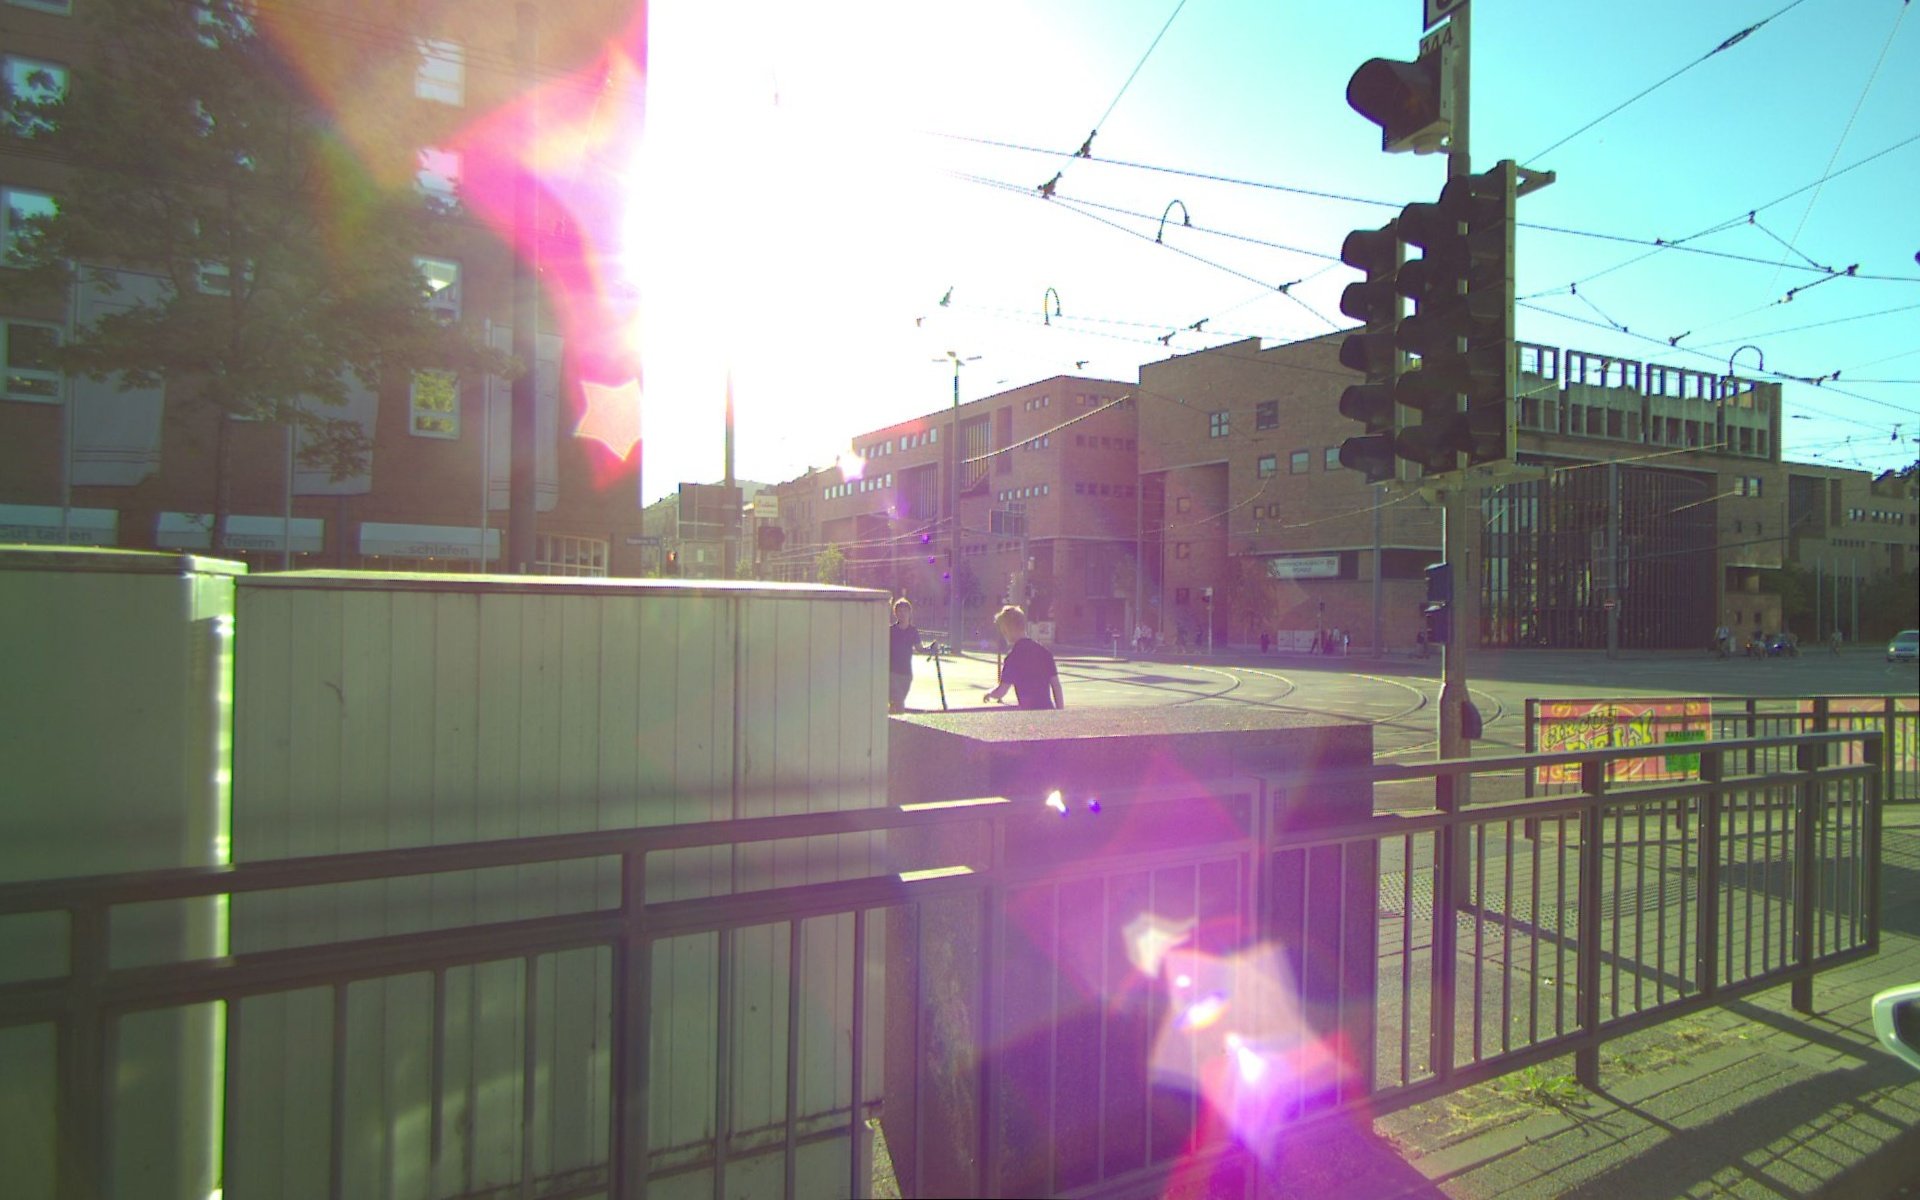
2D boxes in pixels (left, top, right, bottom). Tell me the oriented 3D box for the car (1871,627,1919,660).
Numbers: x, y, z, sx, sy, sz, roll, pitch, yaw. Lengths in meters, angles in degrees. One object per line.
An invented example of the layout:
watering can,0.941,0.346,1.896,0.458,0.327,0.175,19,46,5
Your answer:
car,48.980,2.215,51.779,3.954,1.661,1.983,1,-2,-31

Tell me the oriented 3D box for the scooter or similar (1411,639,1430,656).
scooter or similar,25.376,2.632,55.373,0.931,0.911,0.176,0,-1,14

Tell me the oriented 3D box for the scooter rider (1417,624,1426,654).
scooter rider,25.431,2.155,55.394,0.429,1.669,0.229,0,-1,15

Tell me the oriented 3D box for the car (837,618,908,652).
car,-4.596,1.812,52.454,1.980,1.572,3.961,2,0,-35

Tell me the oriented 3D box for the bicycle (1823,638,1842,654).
bicycle,55.032,2.892,63.341,1.469,0.976,0.489,1,-1,-30

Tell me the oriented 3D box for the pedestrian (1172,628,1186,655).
pedestrian,12.281,2.316,56.337,0.602,1.473,0.570,0,-1,-1

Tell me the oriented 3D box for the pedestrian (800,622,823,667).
pedestrian,-5.591,1.669,37.772,0.658,1.669,0.638,1,-1,-34

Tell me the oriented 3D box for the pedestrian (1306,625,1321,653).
pedestrian,21.750,2.408,61.866,0.645,1.706,0.615,1,-1,-38

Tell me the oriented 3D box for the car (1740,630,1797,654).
car,52.750,2.727,65.542,3.954,1.455,1.658,1,-2,-31

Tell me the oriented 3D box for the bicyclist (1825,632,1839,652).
bicyclist,54.899,2.654,63.257,0.574,1.226,0.503,1,-1,-30

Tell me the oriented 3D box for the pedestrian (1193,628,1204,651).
pedestrian,14.979,2.451,62.998,0.549,1.445,0.556,0,-1,0

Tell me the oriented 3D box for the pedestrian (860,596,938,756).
pedestrian,-0.749,0.895,12.191,0.647,1.864,0.835,1,-1,-28

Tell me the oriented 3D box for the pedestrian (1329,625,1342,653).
pedestrian,23.357,2.426,62.467,0.497,1.706,0.589,1,-1,-34

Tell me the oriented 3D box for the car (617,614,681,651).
car,-18.804,1.931,60.624,1.982,2.122,5.156,1,-2,-38

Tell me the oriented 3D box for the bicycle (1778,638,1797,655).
bicycle,48.749,2.741,59.193,1.332,0.976,0.449,1,-1,-30

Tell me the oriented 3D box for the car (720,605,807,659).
car,-9.450,1.514,47.942,1.982,2.419,5.156,1,-2,-38

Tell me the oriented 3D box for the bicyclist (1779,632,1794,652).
bicyclist,48.606,2.463,59.093,0.574,1.194,0.503,1,-1,-30

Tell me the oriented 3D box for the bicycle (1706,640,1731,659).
bicycle,41.269,2.693,54.635,1.568,0.976,0.539,1,-1,-30

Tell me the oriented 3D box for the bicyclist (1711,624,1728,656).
bicyclist,41.355,2.185,54.712,0.574,1.754,0.534,1,-1,-30

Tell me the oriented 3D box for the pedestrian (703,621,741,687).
pedestrian,-6.165,1.392,26.041,0.709,1.669,0.953,1,-1,-30

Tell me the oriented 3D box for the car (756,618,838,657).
car,-8.496,1.908,51.897,1.982,1.928,5.156,1,-2,-38

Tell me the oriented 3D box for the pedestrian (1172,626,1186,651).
pedestrian,12.064,2.111,55.389,0.667,1.357,0.605,0,-1,6

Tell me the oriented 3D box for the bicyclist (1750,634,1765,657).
bicyclist,45.931,2.631,57.827,0.574,1.321,0.503,1,-1,-30

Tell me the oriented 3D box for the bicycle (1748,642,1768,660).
bicycle,45.917,2.930,57.826,1.304,0.976,0.465,1,-1,-30

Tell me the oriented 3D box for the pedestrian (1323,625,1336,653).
pedestrian,22.727,2.401,61.739,0.569,1.706,0.543,1,-2,-40

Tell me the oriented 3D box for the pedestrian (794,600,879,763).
pedestrian,-1.474,0.930,11.913,0.713,1.837,0.904,1,-1,-28

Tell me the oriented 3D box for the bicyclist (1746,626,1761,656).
bicyclist,42.847,2.226,54.260,0.574,1.624,0.456,1,-1,-30

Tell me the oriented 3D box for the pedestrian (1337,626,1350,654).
pedestrian,23.353,2.439,61.164,0.543,1.706,0.568,1,-1,-38

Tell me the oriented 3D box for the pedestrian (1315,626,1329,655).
pedestrian,21.753,2.421,60.389,0.584,1.706,0.547,1,-1,-27

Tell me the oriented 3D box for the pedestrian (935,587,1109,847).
pedestrian,0.453,0.824,7.519,1.077,1.771,0.738,-2,-3,43

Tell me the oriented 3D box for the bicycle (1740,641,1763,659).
bicycle,42.692,2.685,54.165,1.557,0.976,0.470,1,-1,-30

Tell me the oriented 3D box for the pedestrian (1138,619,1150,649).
pedestrian,10.263,1.898,56.017,0.577,1.635,0.598,0,-1,15

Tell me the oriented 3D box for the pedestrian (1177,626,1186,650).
pedestrian,13.950,2.390,63.189,0.523,1.482,0.591,0,-1,13

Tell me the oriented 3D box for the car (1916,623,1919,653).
car,55.250,2.102,55.893,3.954,1.661,1.983,1,-2,-31

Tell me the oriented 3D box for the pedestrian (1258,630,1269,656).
pedestrian,18.254,2.586,60.431,0.484,1.526,0.547,-1,-2,44

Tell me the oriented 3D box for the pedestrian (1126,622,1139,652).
pedestrian,9.525,2.046,55.491,0.538,1.670,0.601,0,-1,23
